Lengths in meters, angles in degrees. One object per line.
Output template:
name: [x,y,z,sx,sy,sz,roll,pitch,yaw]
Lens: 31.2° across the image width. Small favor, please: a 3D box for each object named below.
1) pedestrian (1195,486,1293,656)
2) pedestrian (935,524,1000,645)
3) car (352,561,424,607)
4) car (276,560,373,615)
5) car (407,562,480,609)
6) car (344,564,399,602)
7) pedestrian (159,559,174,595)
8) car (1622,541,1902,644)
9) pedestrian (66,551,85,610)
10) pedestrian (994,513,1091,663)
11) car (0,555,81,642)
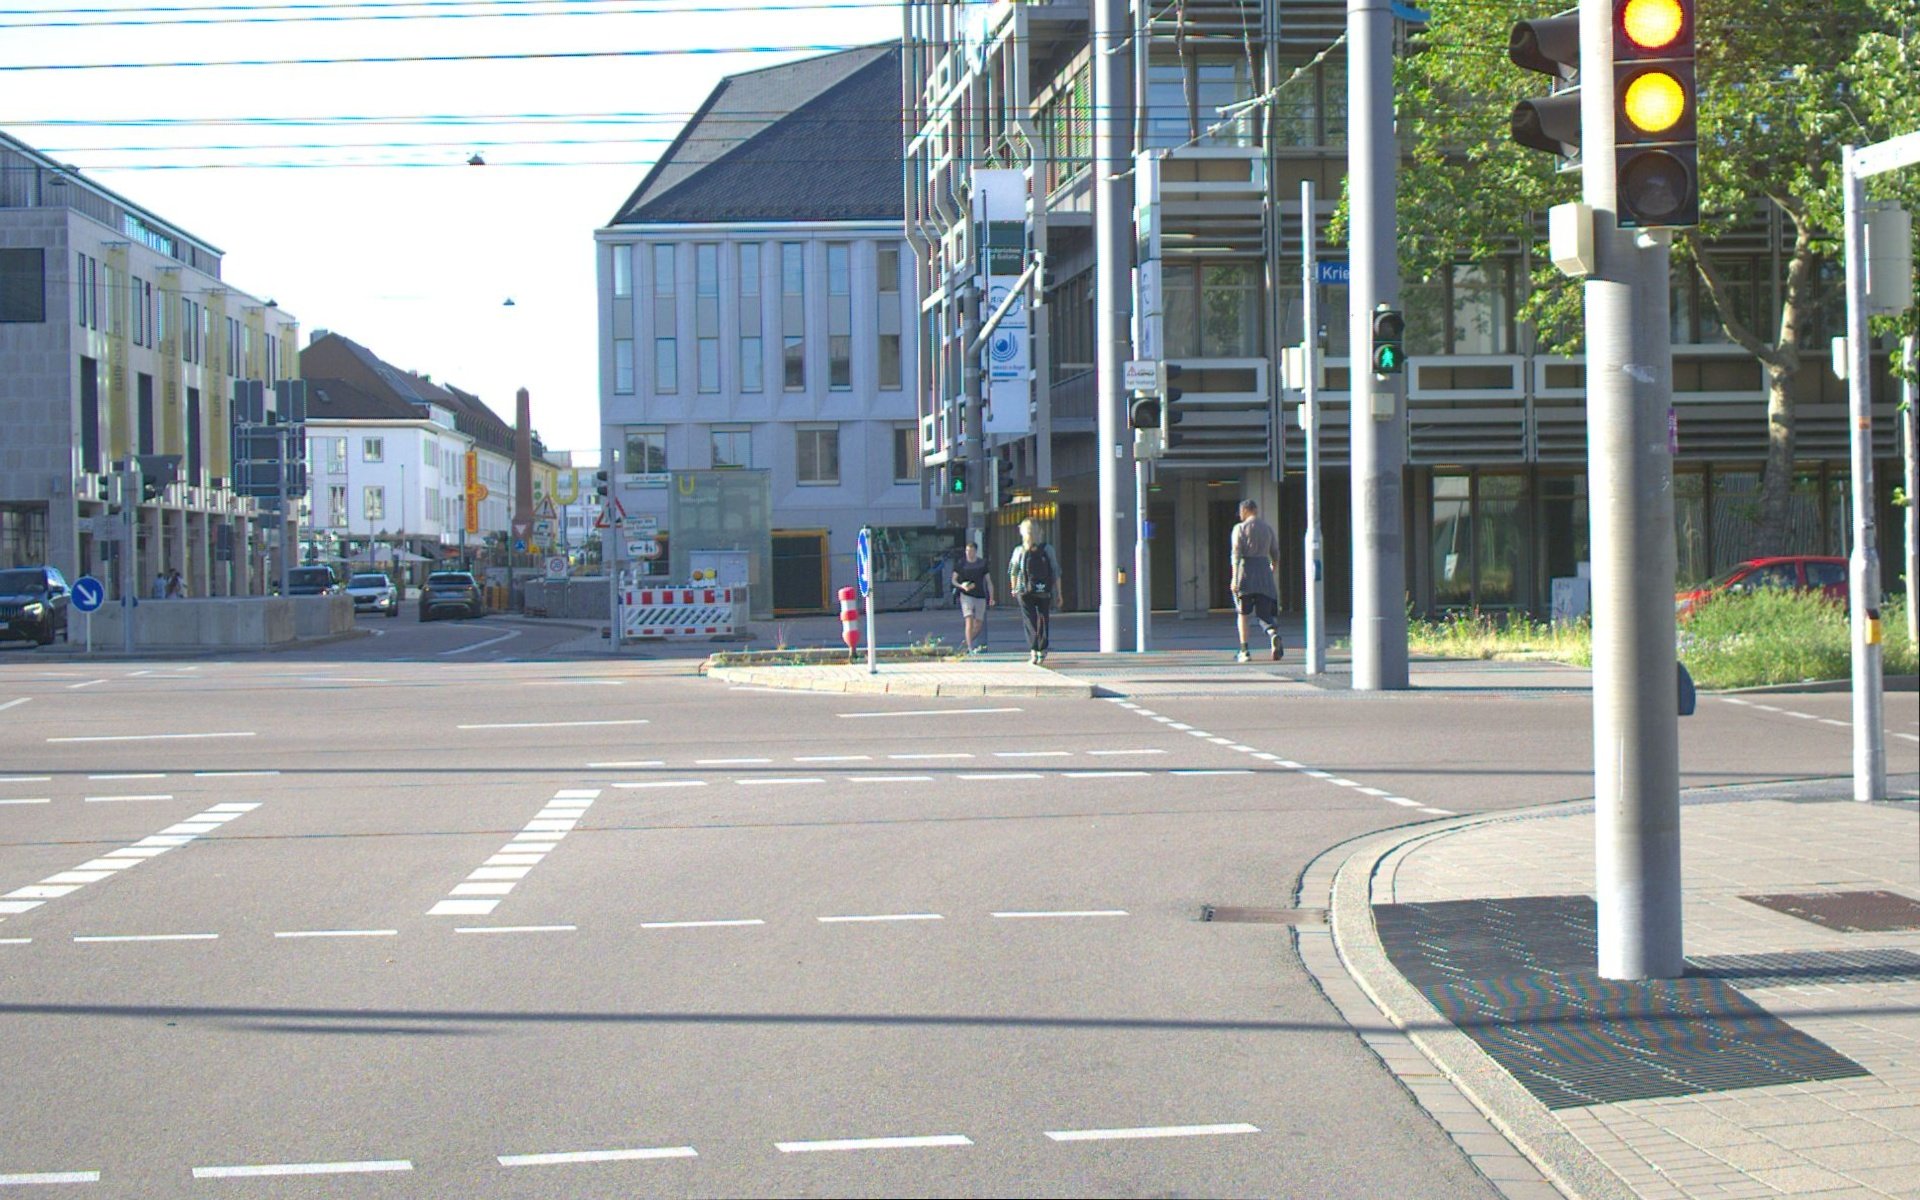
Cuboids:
pedestrian: [2.954,-0.314,35.774,0.855,1.738,0.739,-1,1,-8]
pedestrian: [0.120,-0.252,54.903,1.012,1.904,1.051,-1,1,0]
car: [-21.892,-0.601,131.740,2.174,1.686,5.616,-1,0,-4]
car: [-20.312,-0.400,110.050,2.174,1.686,5.487,-1,0,-1]
car: [-16.244,-0.461,108.210,1.936,1.445,4.263,-1,0,-4]
car: [-29.458,-0.856,172.291,2.174,1.866,5.616,-1,0,-4]
pedestrian: [-29.933,-0.876,129.728,0.488,1.352,0.564,1,0,-6]
car: [12.635,-0.109,54.272,3.866,1.481,1.846,-1,-2,-6]
pedestrian: [-29.983,-0.665,116.517,0.616,2.007,0.478,1,0,-15]
pedestrian: [0.870,-0.138,36.387,0.895,1.544,0.924,-1,2,-7]
car: [-18.963,-0.043,68.895,1.937,1.672,4.295,-1,1,-5]
